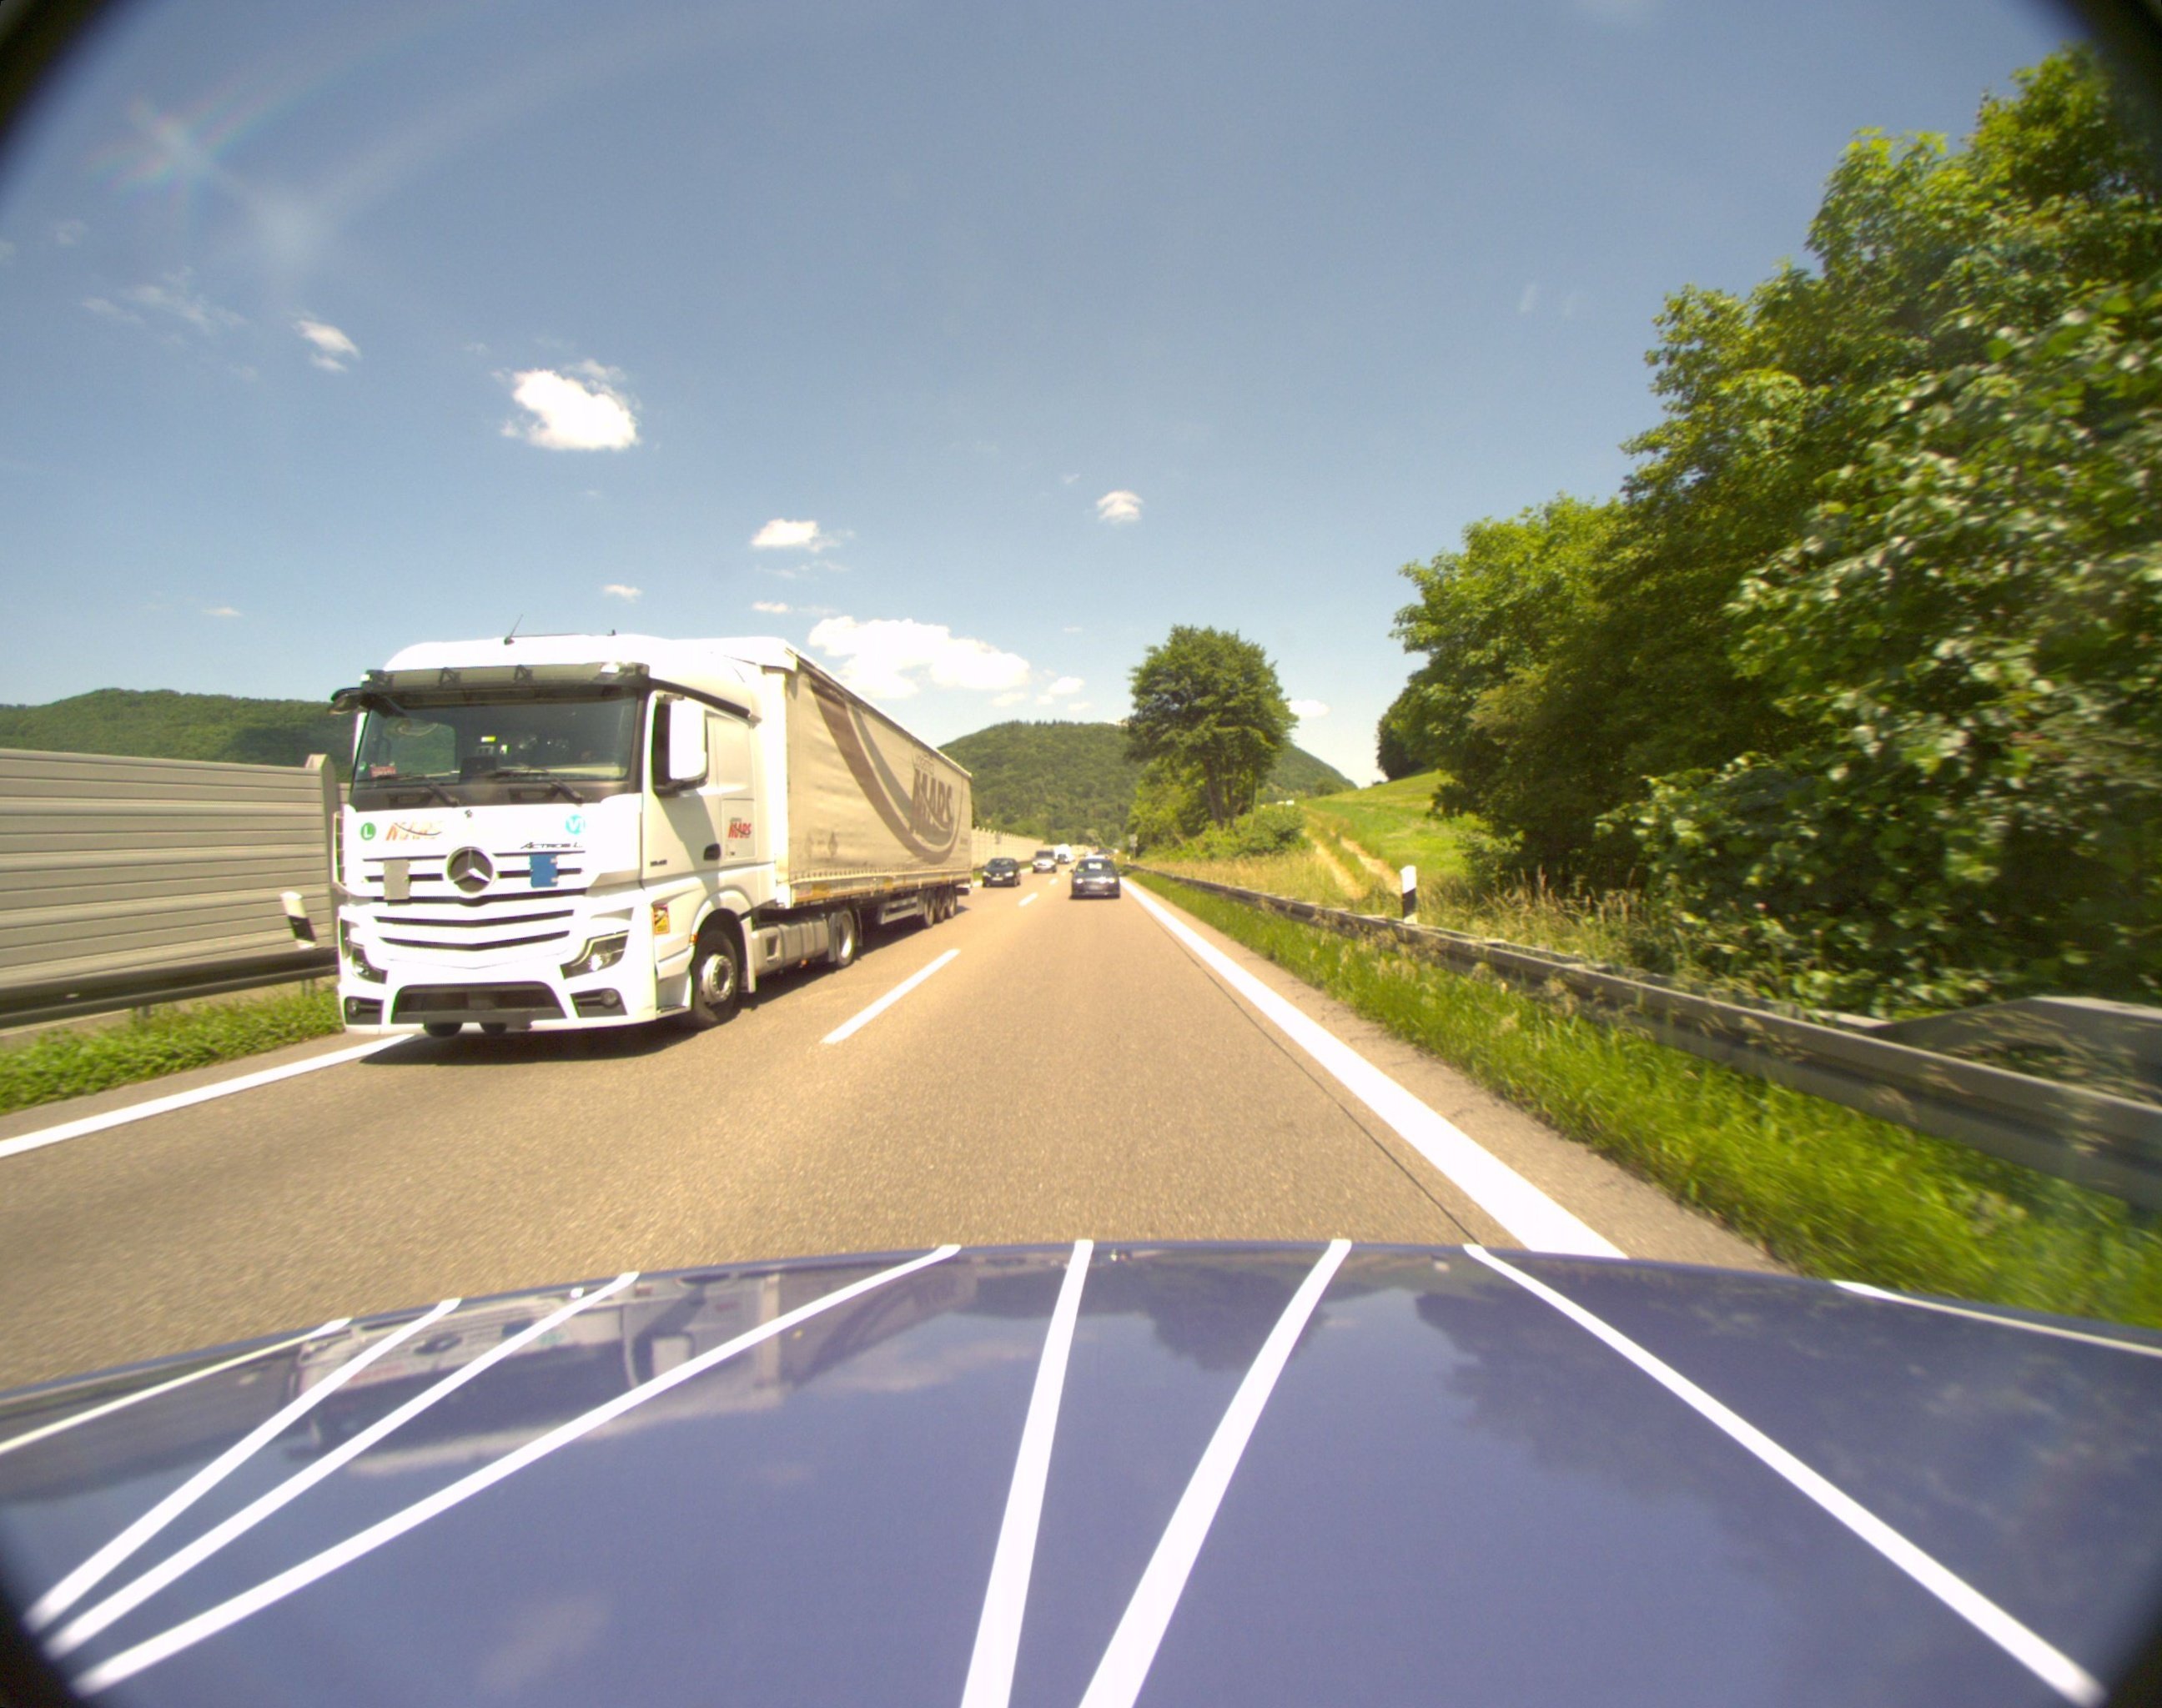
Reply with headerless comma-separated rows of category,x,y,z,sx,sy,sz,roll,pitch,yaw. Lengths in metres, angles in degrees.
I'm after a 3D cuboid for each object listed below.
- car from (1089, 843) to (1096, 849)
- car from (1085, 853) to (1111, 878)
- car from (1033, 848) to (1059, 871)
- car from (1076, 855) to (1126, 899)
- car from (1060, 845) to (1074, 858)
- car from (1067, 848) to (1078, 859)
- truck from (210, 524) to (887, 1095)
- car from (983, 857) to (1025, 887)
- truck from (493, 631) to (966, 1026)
car,3.327,-2.386,226.707,1.998,1.722,3.999,3,1,1
car,1.108,0.716,50.526,1.715,1.541,4.000,0,0,1
car,-2.928,0.509,64.374,2.043,1.854,4.000,-1,-1,0
car,0.704,0.783,27.186,1.662,1.436,3.475,0,1,1
car,-2.175,-0.373,118.679,1.998,1.892,4.001,1,0,2
car,-1.526,-0.114,142.308,1.998,2.002,4.000,-1,0,1
truck,-4.721,-0.374,8.933,2.764,4.016,6.822,-3,2,1
car,-3.817,0.860,38.221,1.662,1.405,3.475,0,1,1
truck,-4.619,-0.332,14.052,2.861,4.124,12.046,-1,1,1
